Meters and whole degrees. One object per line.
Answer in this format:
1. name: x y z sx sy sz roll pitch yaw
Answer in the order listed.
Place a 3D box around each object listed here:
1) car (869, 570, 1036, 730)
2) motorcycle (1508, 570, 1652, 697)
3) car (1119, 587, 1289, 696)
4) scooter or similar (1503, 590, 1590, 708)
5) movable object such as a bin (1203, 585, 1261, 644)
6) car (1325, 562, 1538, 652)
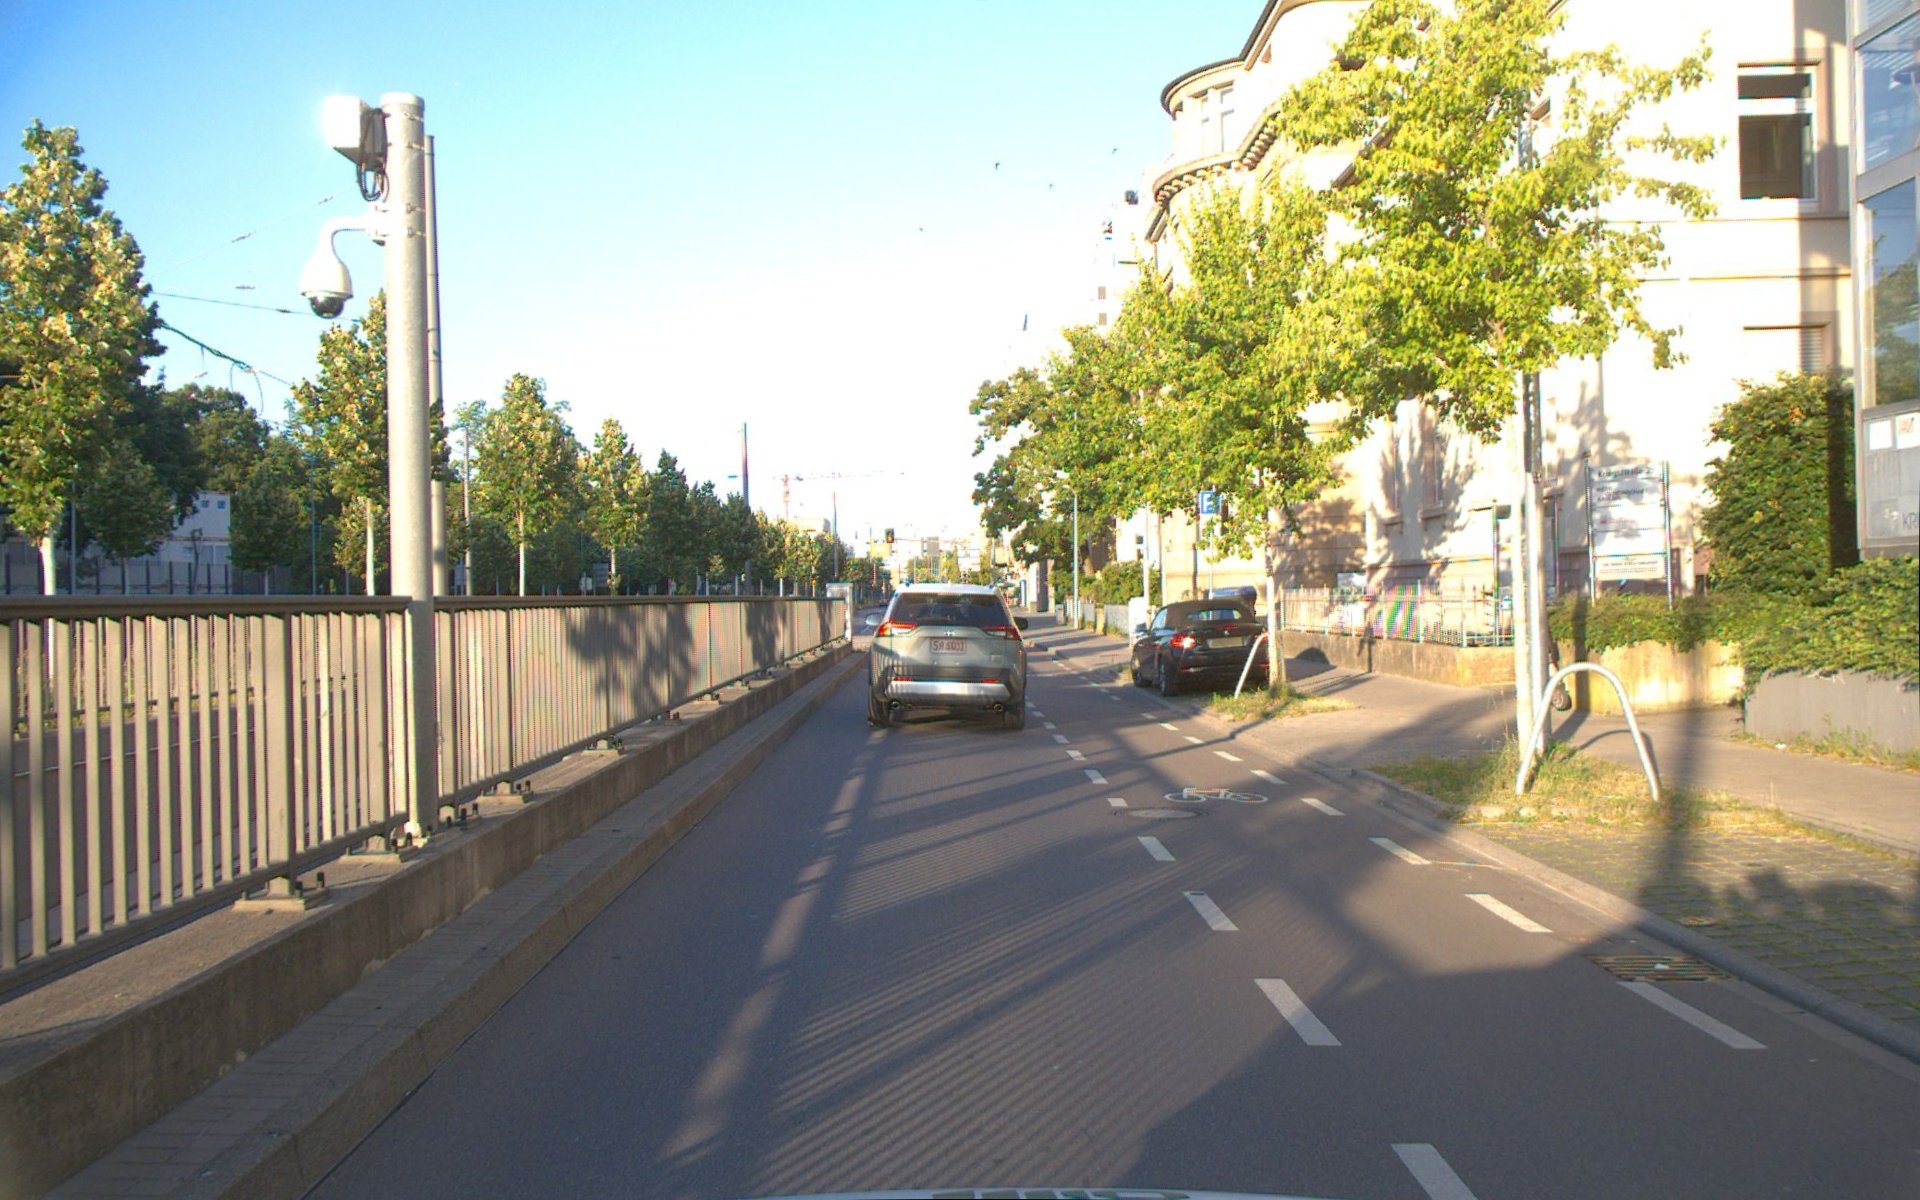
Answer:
1. car: -0.166 0.558 20.282 1.820 1.744 4.190 1 0 -3
2. motorcycle: 7.541 0.397 20.149 1.467 1.437 0.626 -3 1 -5
3. car: 3.845 0.609 26.794 1.757 1.496 4.442 -4 0 -3
4. scooter or similar: 6.615 0.539 18.696 0.481 1.280 1.207 0 -1 -4
5. movable object such as a bin: 7.017 0.380 42.748 1.235 1.487 1.123 -1 0 -4
6. car: 10.384 0.153 36.680 4.109 1.598 1.917 -5 0 2
